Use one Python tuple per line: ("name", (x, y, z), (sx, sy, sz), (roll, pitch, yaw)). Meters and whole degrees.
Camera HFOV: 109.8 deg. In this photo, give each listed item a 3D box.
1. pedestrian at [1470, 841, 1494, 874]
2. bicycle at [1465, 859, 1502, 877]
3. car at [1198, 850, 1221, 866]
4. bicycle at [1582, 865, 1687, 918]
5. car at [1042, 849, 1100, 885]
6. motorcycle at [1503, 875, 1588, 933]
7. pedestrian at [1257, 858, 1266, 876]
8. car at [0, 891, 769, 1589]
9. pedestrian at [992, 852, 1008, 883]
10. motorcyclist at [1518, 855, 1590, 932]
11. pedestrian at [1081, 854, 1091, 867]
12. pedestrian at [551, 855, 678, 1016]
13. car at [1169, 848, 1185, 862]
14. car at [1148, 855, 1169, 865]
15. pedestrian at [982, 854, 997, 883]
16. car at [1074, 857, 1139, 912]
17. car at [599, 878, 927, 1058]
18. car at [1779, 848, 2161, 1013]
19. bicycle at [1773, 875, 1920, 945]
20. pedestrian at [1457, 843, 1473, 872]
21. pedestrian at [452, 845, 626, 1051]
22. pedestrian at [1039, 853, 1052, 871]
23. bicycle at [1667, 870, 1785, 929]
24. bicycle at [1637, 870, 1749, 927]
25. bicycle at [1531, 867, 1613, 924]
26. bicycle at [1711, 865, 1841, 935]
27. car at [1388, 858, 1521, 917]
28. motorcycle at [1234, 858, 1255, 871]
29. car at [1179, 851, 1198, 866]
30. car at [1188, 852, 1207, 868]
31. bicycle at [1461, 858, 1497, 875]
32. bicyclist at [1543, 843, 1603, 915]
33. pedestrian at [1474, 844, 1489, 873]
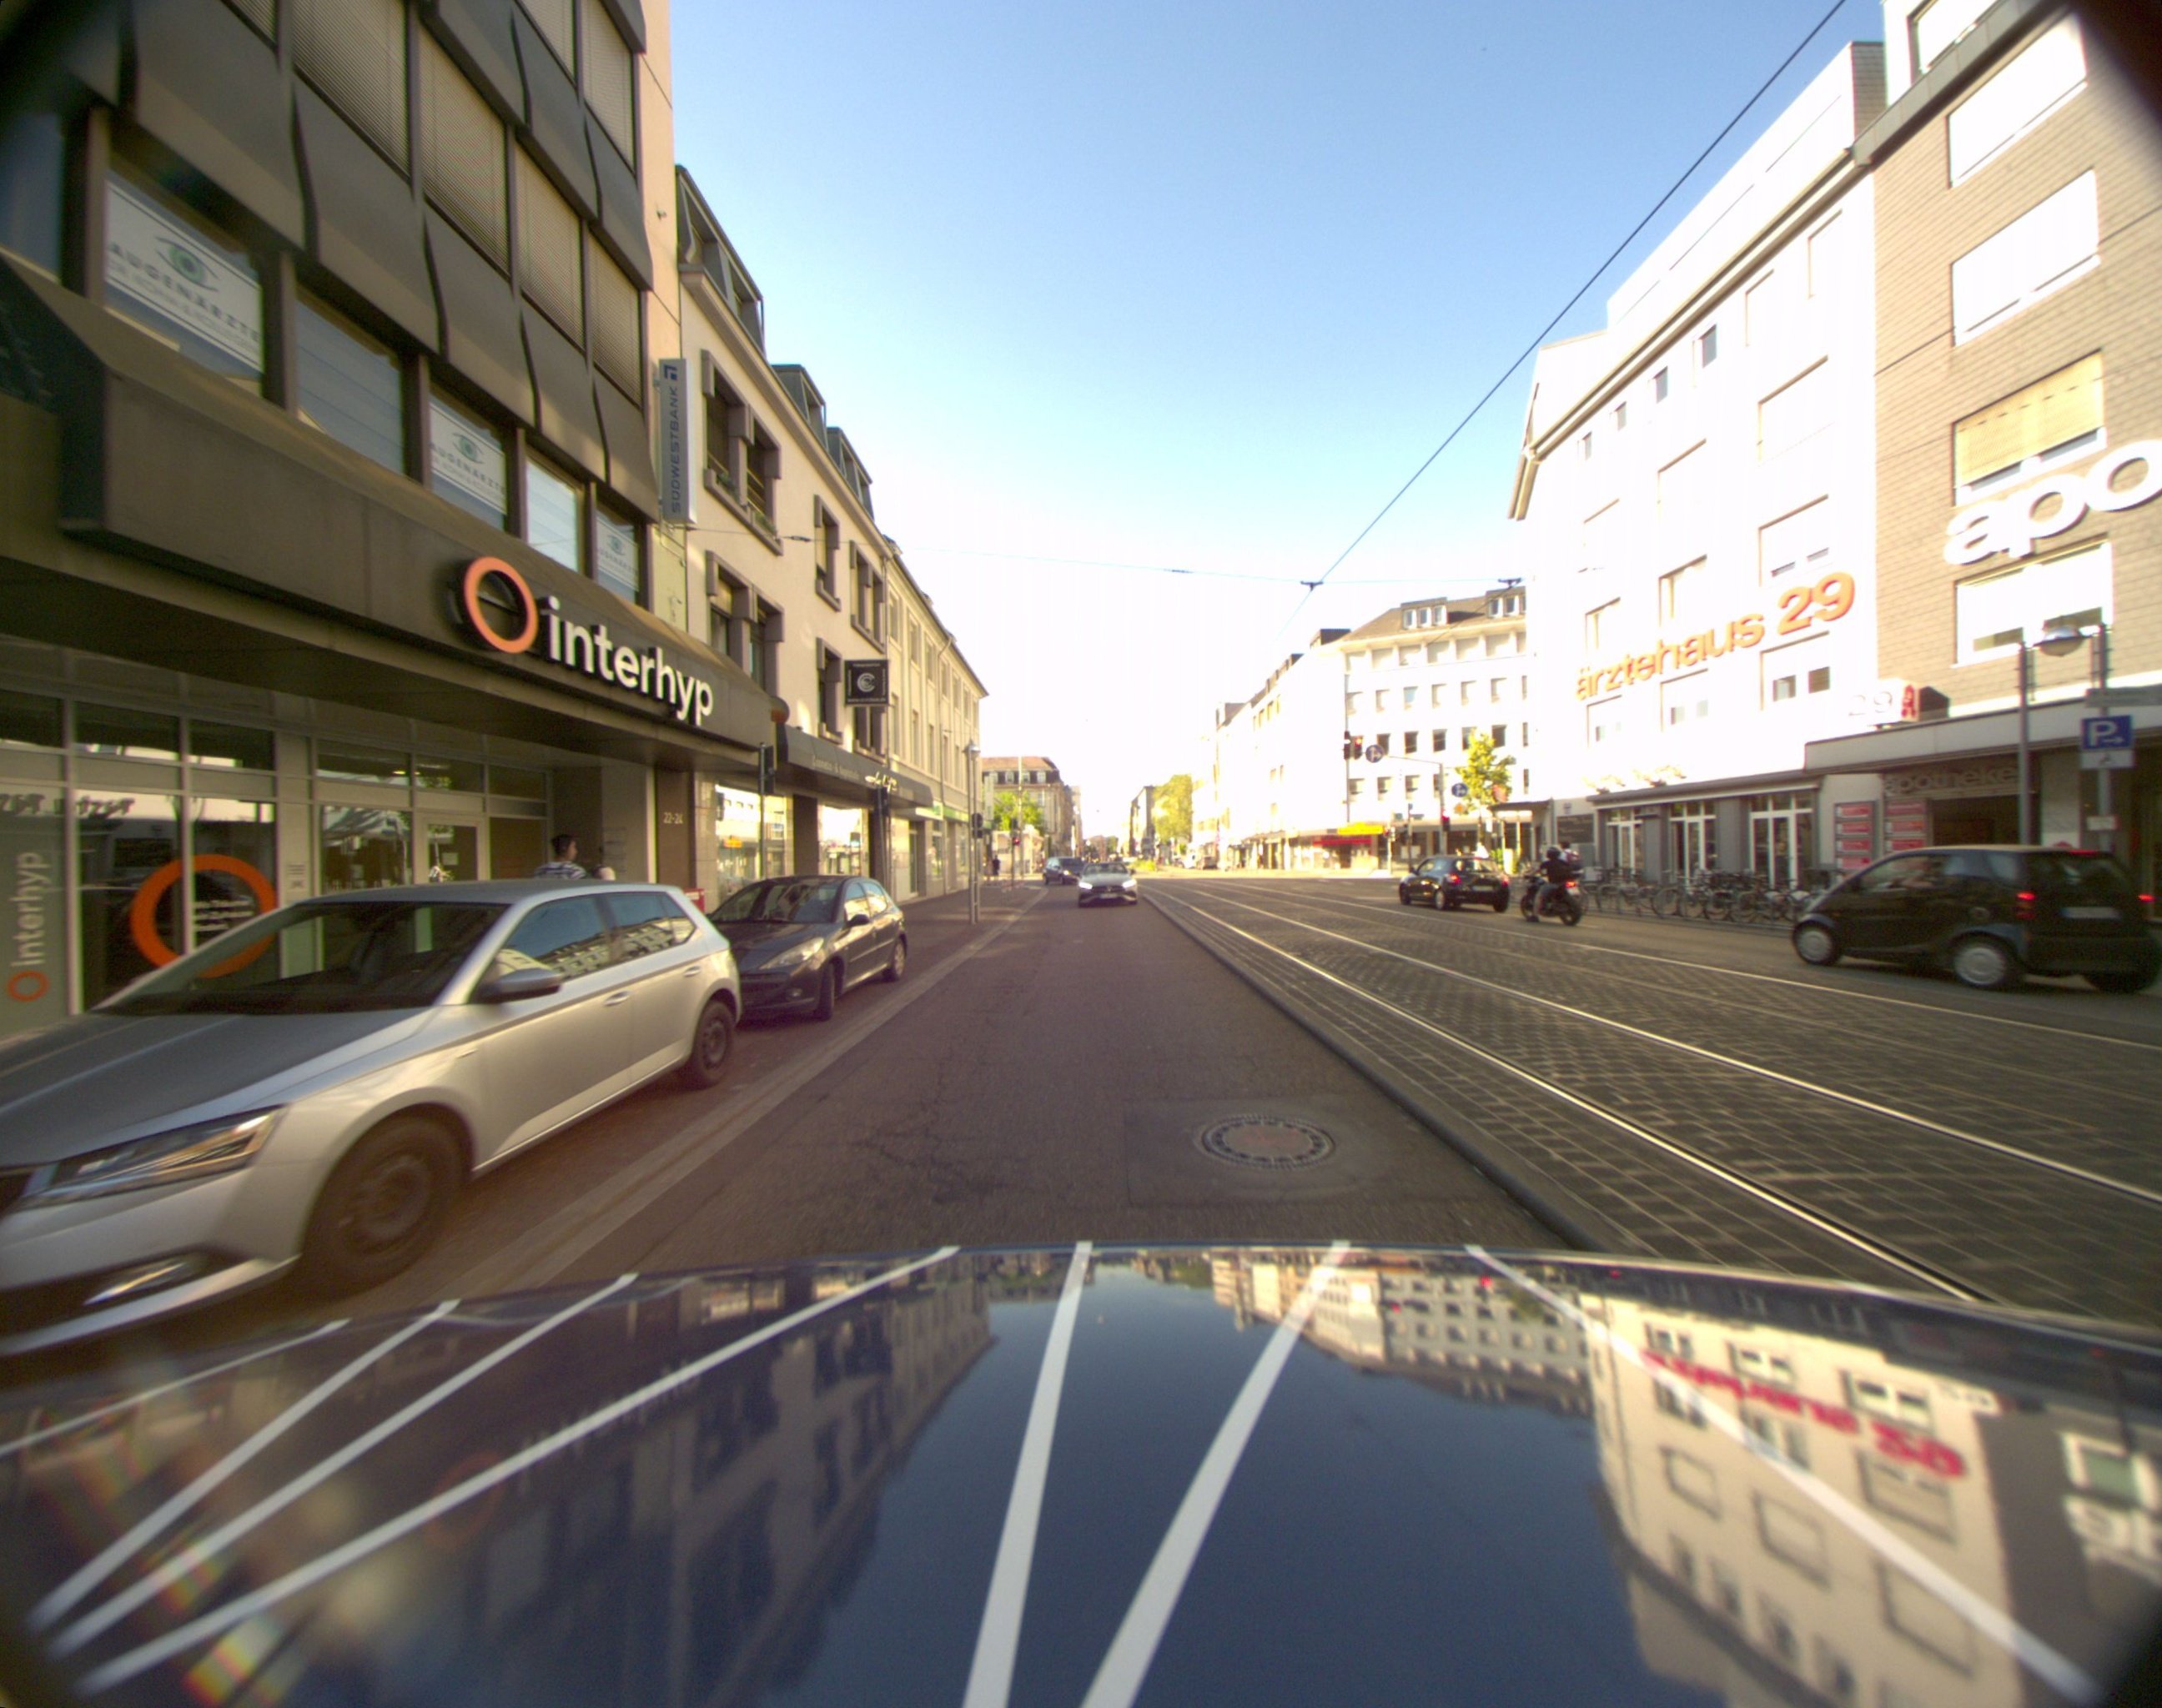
("pedestrian", (23.123, 0.220, 43.806), (1.000, 1.855, 0.781), (-1, -2, 11))
("bicycle", (23.213, 0.811, 43.824), (1.722, 1.001, 0.762), (-1, -3, 13))
("car", (14.771, 0.459, 87.411), (1.998, 1.696, 4.000), (-1, 0, 1))
("bicycle", (13.964, 0.936, 19.191), (2.109, 1.216, 0.774), (-2, 0, -4))
("car", (-0.654, 0.679, 43.617), (1.913, 1.859, 4.089), (-3, 2, -22))
("motorcycle", (9.901, 1.029, 16.282), (0.571, 1.113, 2.117), (0, 0, 2))
("pedestrian", (17.028, 1.246, 71.545), (0.710, 1.699, 0.561), (-1, 0, 22))
("car", (-3.411, 1.029, 3.918), (1.749, 1.453, 4.296), (-1, 0, 1))
("pedestrian", (-4.913, 0.818, 46.189), (0.680, 1.831, 0.643), (-1, 0, 25))
("motorcyclist", (9.910, 0.796, 15.964), (0.805, 1.549, 1.146), (0, 1, 2))
("pedestrian", (1.000, 1.373, 158.815), (1.380, 2.774, 1.948), (-1, 0, -24))
("pedestrian", (-5.352, 0.886, 8.784), (0.781, 1.742, 1.032), (-1, 0, 2))
("car", (14.189, 0.122, 112.652), (1.998, 2.002, 4.000), (-1, 0, 1))
("car", (15.480, 1.212, 151.008), (3.996, 1.787, 2.000), (-1, 0, 2))
("pedestrian", (-5.576, 0.875, 46.275), (0.648, 1.749, 0.575), (-1, 1, 25))
("car", (0.817, 0.944, 25.230), (1.910, 1.454, 4.362), (-2, 2, 1))
("car", (-3.259, 1.074, 8.885), (1.852, 1.453, 4.303), (0, 0, 3))
("car", (10.075, 0.732, 8.665), (1.652, 1.557, 2.829), (-1, 0, 2))
("bicycle", (13.739, 0.982, 13.672), (1.940, 1.145, 0.774), (-2, 0, -4))
("pedestrian", (23.039, 0.218, 45.628), (0.653, 1.702, 0.793), (-1, 1, 10))
("pedestrian", (-5.144, 0.842, 7.289), (0.925, 1.832, 0.999), (1, 0, 2))
("pedestrian", (-3.398, 0.749, 72.427), (0.947, 1.653, 0.915), (-1, 0, -31))
("bicycle", (13.854, 0.963, 16.357), (1.940, 1.185, 0.774), (-1, 0, -4))
("bicycle", (13.837, 0.995, 17.217), (1.940, 1.165, 0.774), (-3, 0, -4))
("bicycle", (12.144, 0.991, 18.866), (0.752, 1.285, 2.025), (-1, 0, 1))
("bicycle", (13.840, 0.901, 15.163), (1.940, 1.272, 0.774), (-2, 1, -4))
("car", (10.172, 0.854, 21.066), (1.717, 1.437, 4.139), (1, 0, 2))
("motorcycle", (18.711, 1.200, 86.964), (2.254, 1.496, 1.000), (-1, 0, -2))
("car", (14.322, 0.620, 101.372), (1.998, 2.002, 4.000), (-1, 0, 1))
("car", (14.609, 0.738, 95.701), (1.998, 2.002, 4.844), (-1, 0, 4))
("bicycle", (23.324, 0.750, 44.561), (1.791, 0.962, 0.554), (-1, 0, 13))
("bicyclist", (12.159, 0.606, 18.820), (0.752, 1.719, 1.146), (-1, 1, 2))
("pedestrian", (23.436, 0.257, 44.471), (0.558, 1.718, 0.781), (-1, 1, 11))
